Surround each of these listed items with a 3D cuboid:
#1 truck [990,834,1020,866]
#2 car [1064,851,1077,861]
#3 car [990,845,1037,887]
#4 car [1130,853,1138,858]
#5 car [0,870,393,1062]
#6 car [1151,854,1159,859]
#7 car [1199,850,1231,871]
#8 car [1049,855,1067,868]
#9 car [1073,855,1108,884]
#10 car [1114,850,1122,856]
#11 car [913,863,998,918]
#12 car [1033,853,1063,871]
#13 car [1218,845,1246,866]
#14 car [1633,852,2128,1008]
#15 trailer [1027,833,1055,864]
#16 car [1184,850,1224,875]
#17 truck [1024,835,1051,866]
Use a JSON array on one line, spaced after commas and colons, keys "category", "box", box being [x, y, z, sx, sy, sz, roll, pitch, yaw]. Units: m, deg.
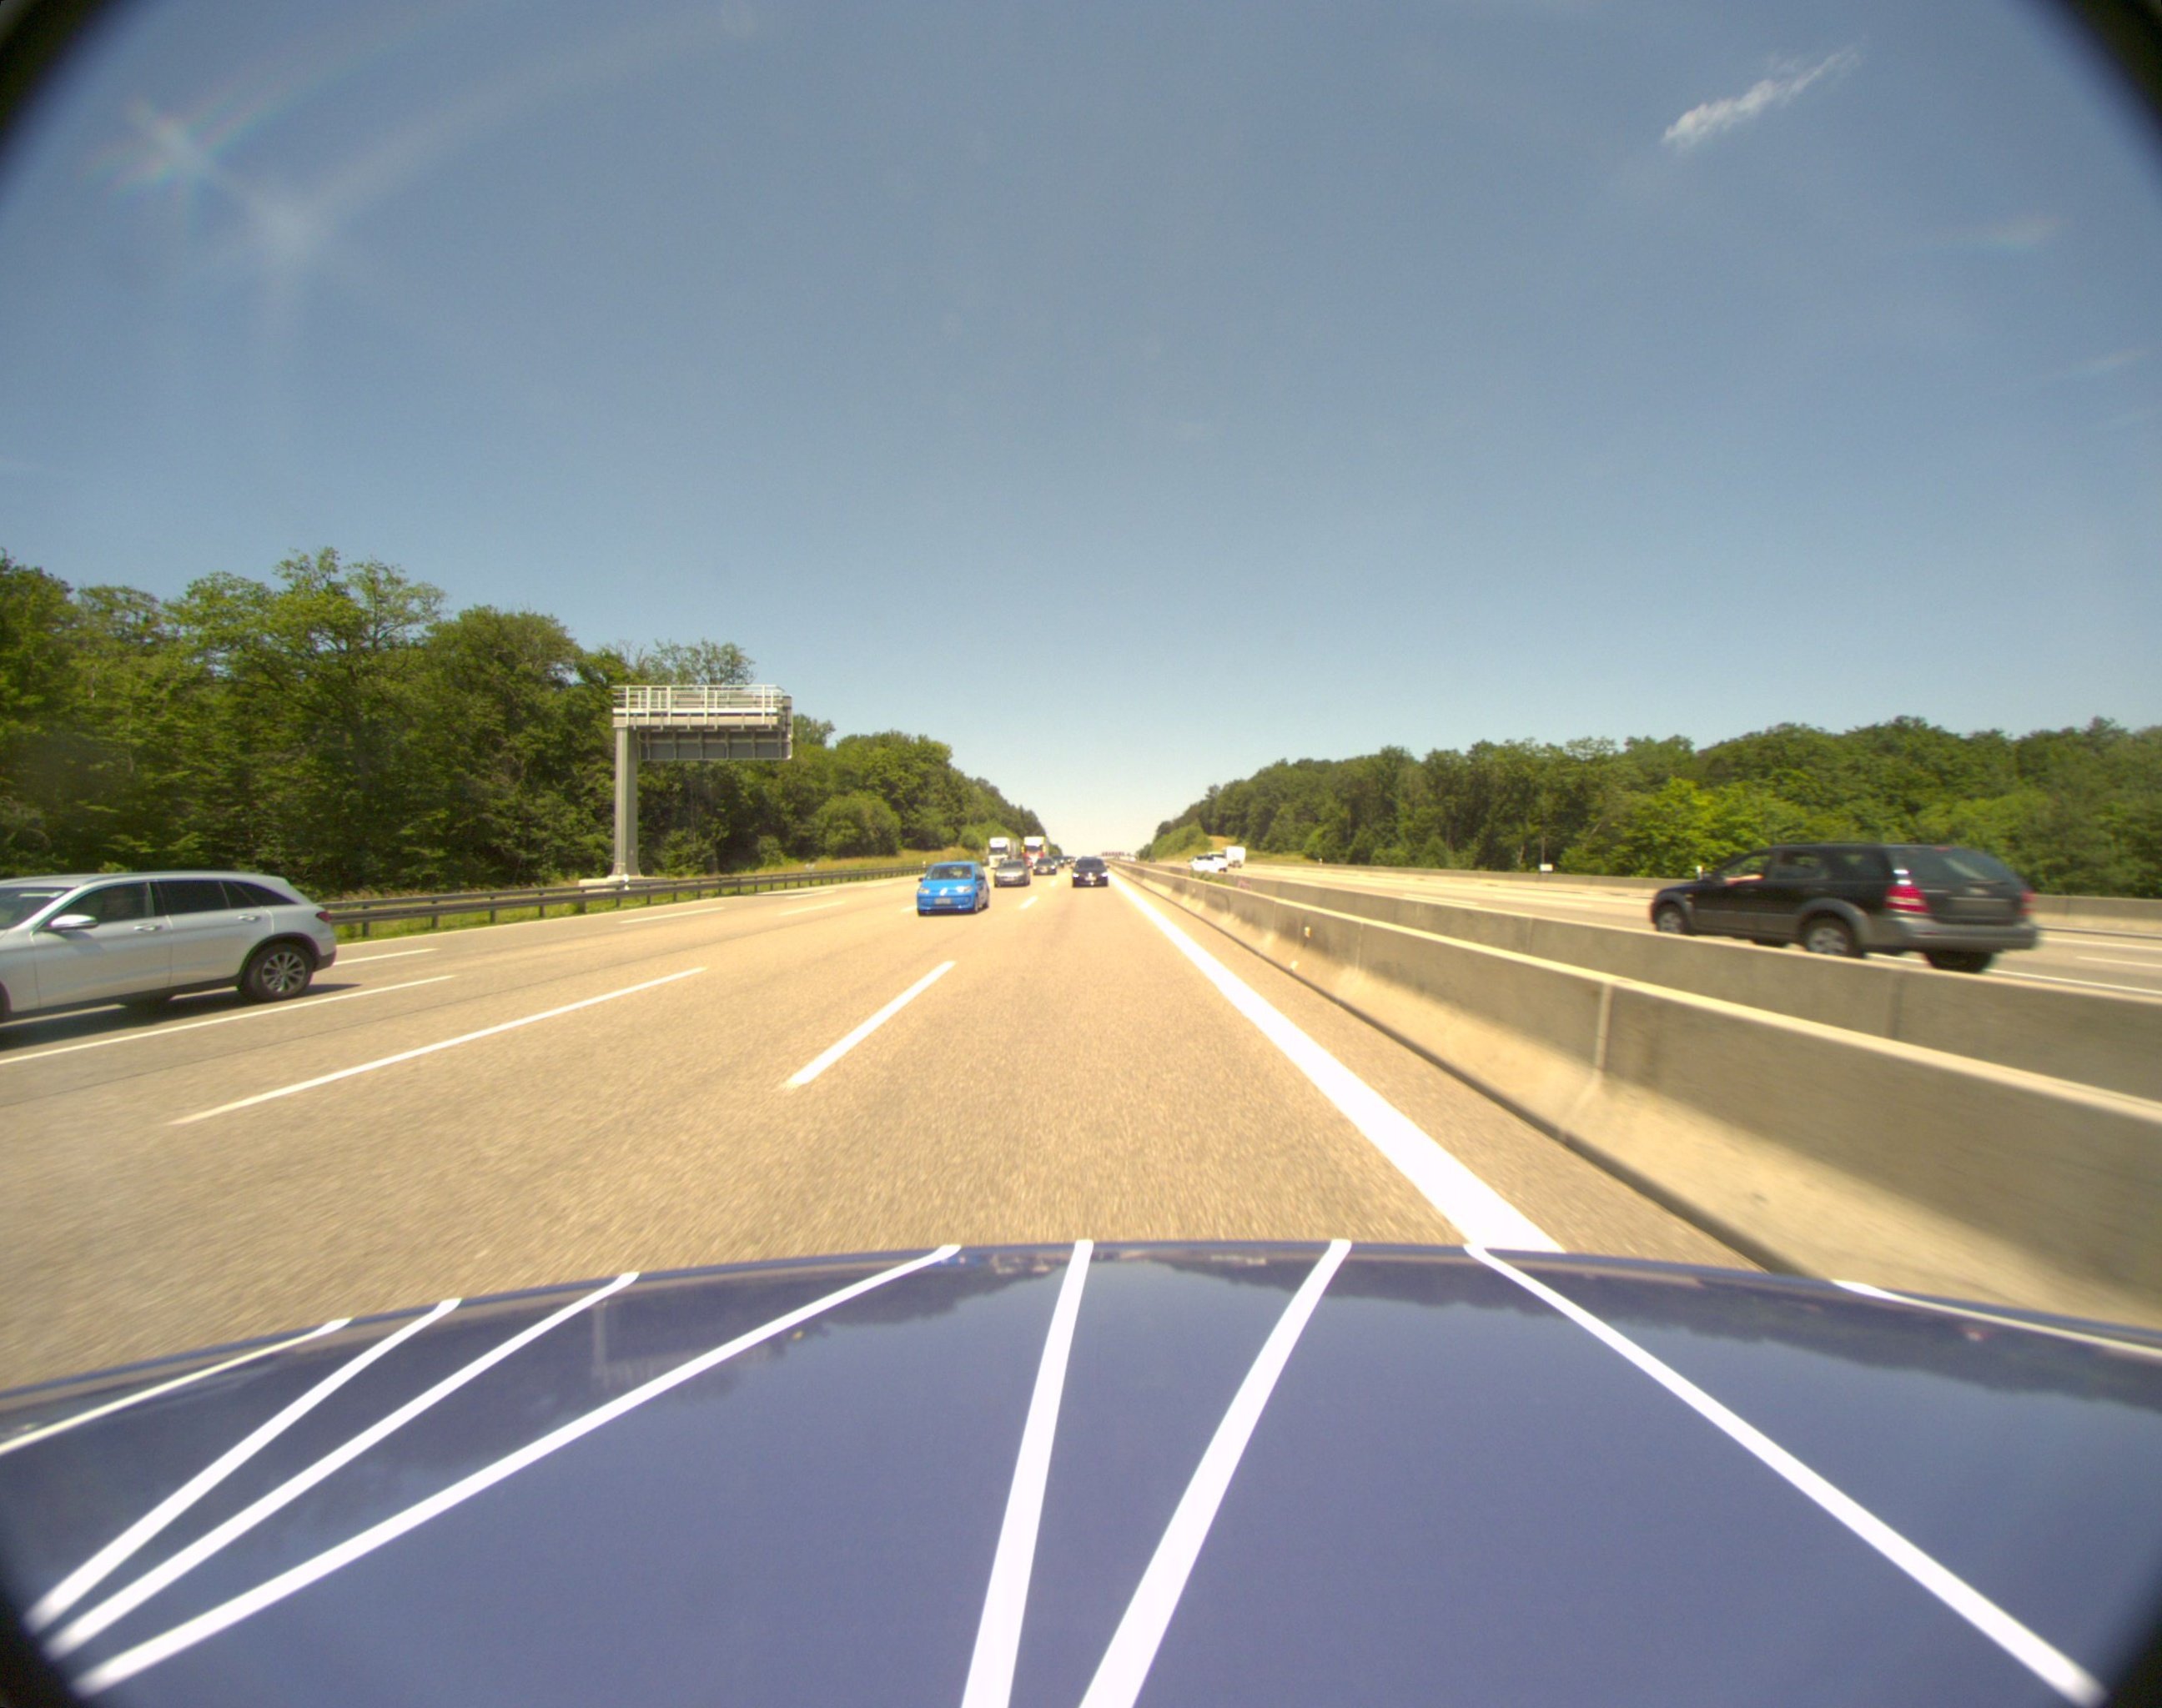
[{"category": "truck", "box": [-10.408, -0.465, 104.902, 2.728, 4.136, 10.971, -2, -1, 1]}, {"category": "car", "box": [-1.769, 0.364, 125.973, 1.910, 1.503, 4.160, -2, -1, 2]}, {"category": "car", "box": [-3.567, 0.617, 40.823, 1.966, 2.041, 4.784, -2, 0, 1]}, {"category": "car", "box": [13.924, 0.335, 199.813, 1.843, 1.433, 3.999, 0, 0, 0]}, {"category": "car", "box": [-10.816, 1.091, 8.271, 1.805, 1.721, 5.240, -2, -1, 1]}, {"category": "car", "box": [22.243, 0.663, 228.183, 1.843, 1.433, 4.763, 2, 0, 0]}, {"category": "car", "box": [12.011, 0.519, 68.441, 1.998, 1.777, 5.318, 1, 0, 0]}, {"category": "car", "box": [-2.821, 0.947, 93.682, 1.910, 1.503, 4.160, -2, -1, 2]}, {"category": "car", "box": [0.542, 0.826, 41.651, 1.777, 1.425, 4.144, -2, -1, 1]}, {"category": "car", "box": [10.025, -0.326, 206.901, 1.843, 1.433, 4.844, 0, 0, 0]}, {"category": "car", "box": [-3.573, 0.997, 22.326, 1.741, 1.403, 4.000, -1, 0, 1]}, {"category": "car", "box": [-2.743, 0.663, 63.791, 1.971, 1.444, 5.226, -1, -1, 3]}, {"category": "car", "box": [20.044, 0.213, 101.356, 2.227, 2.643, 8.175, 1, 0, 1]}, {"category": "car", "box": [10.834, 0.854, 11.063, 1.998, 1.724, 4.924, 1, 0, 0]}, {"category": "trailer", "box": [-5.626, -0.630, 109.183, 2.926, 4.118, 14.851, 0, -1, 1]}, {"category": "car", "box": [8.272, 0.539, 51.401, 1.853, 1.514, 5.318, 1, 0, 0]}, {"category": "truck", "box": [-5.761, -0.365, 101.892, 3.018, 3.957, 7.541, -1, -1, 1]}]
